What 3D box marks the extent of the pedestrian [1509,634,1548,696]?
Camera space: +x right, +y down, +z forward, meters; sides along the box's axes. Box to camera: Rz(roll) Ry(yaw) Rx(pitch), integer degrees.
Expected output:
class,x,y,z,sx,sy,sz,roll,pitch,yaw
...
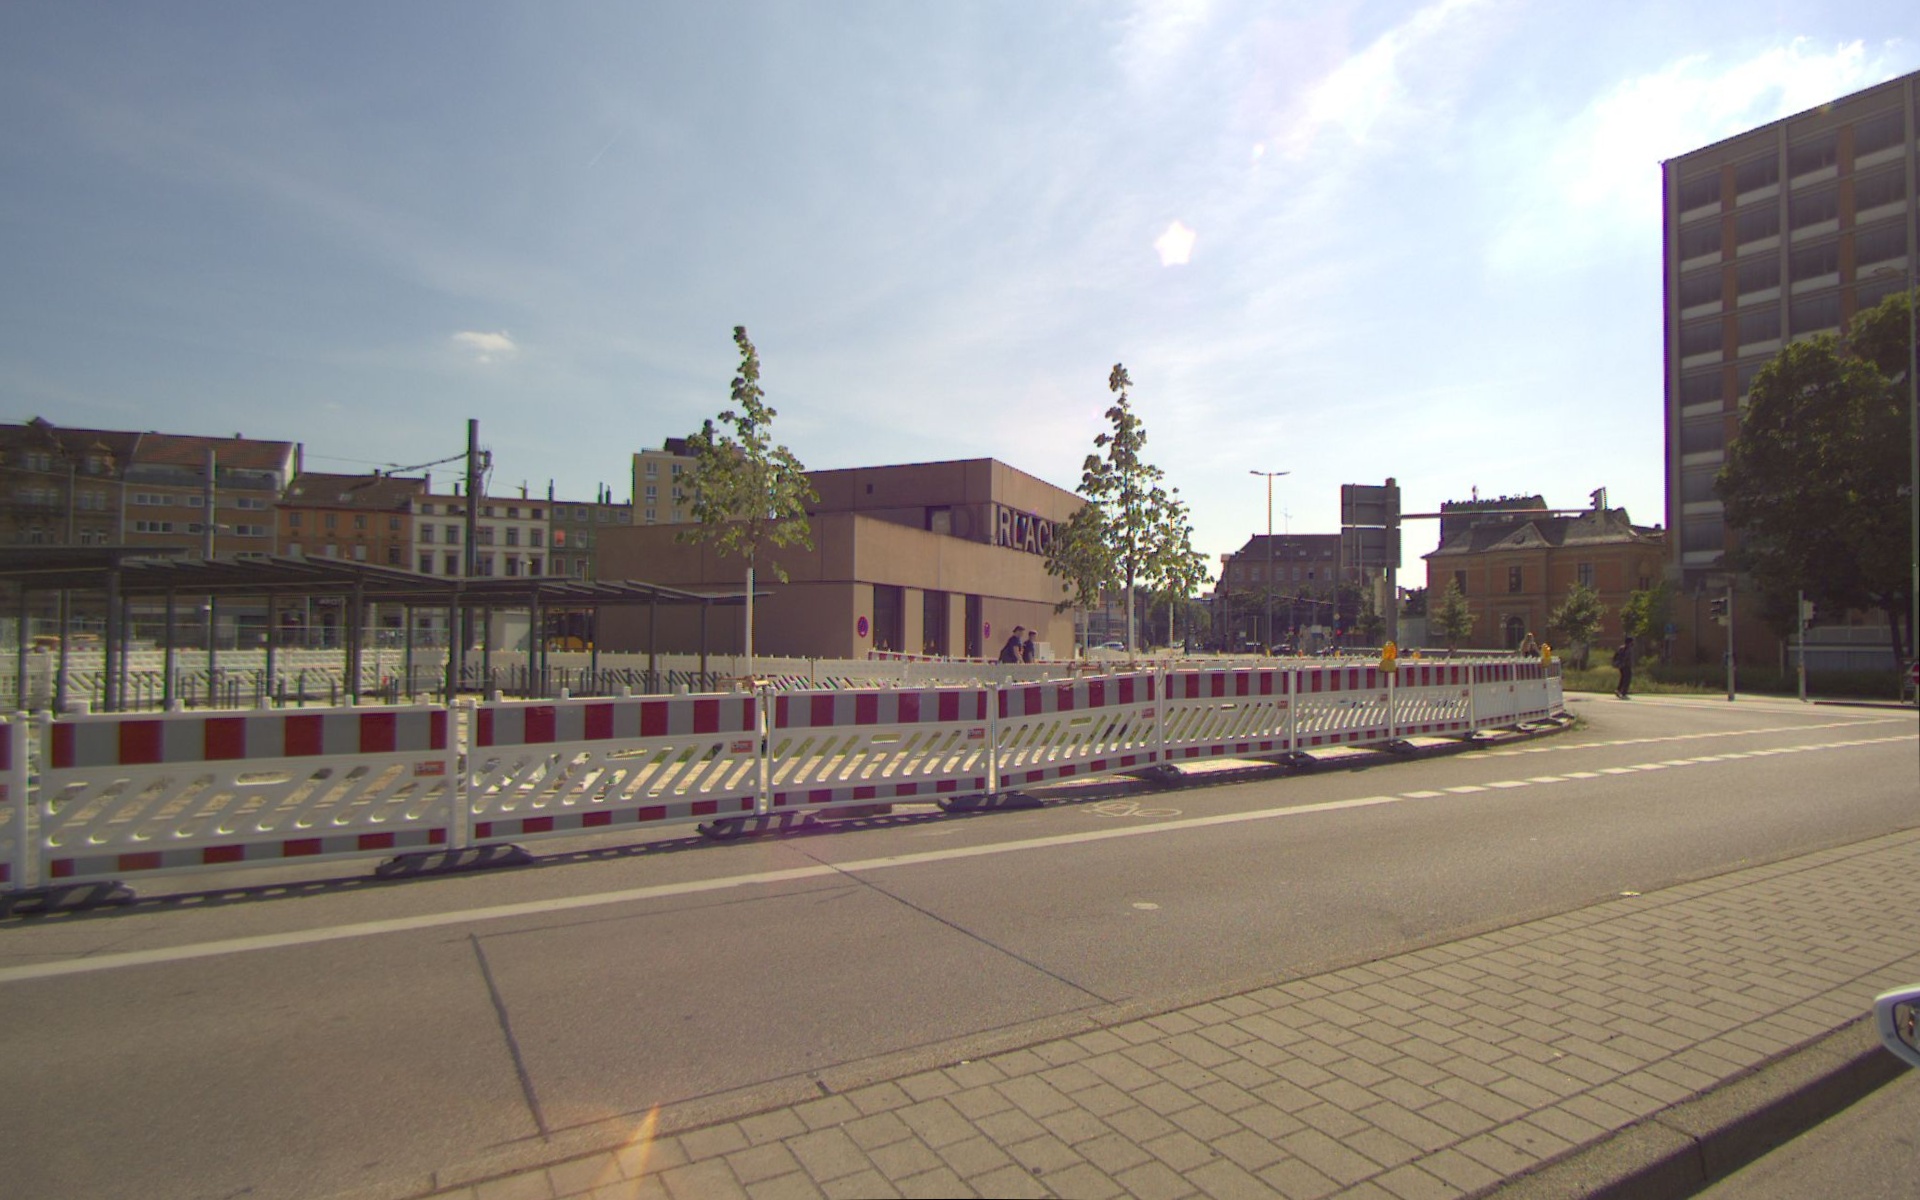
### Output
class,x,y,z,sx,sy,sz,roll,pitch,yaw
pedestrian,16.696,1.906,29.501,0.728,1.775,1.104,-2,-5,44

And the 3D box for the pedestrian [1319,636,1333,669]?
class,x,y,z,sx,sy,sz,roll,pitch,yaw
pedestrian,22.958,3.307,62.981,0.514,2.040,0.626,1,-2,-15

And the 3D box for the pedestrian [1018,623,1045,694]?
class,x,y,z,sx,sy,sz,roll,pitch,yaw
pedestrian,1.771,1.438,24.826,0.559,1.731,0.539,1,-2,-9

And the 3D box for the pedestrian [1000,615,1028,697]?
class,x,y,z,sx,sy,sz,roll,pitch,yaw
pedestrian,1.293,1.345,24.135,0.595,1.940,0.441,1,-2,-9

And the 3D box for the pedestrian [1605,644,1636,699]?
class,x,y,z,sx,sy,sz,roll,pitch,yaw
pedestrian,18.676,2.012,28.404,0.624,1.511,0.613,-2,-3,44

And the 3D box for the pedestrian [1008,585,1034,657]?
class,x,y,z,sx,sy,sz,roll,pitch,yaw
pedestrian,1.538,0.545,25.425,0.559,1.801,0.544,1,-2,-9

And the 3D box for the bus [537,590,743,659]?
class,x,y,z,sx,sy,sz,roll,pitch,yaw
bus,-16.822,1.421,54.430,2.808,3.324,12.650,-1,-2,25
